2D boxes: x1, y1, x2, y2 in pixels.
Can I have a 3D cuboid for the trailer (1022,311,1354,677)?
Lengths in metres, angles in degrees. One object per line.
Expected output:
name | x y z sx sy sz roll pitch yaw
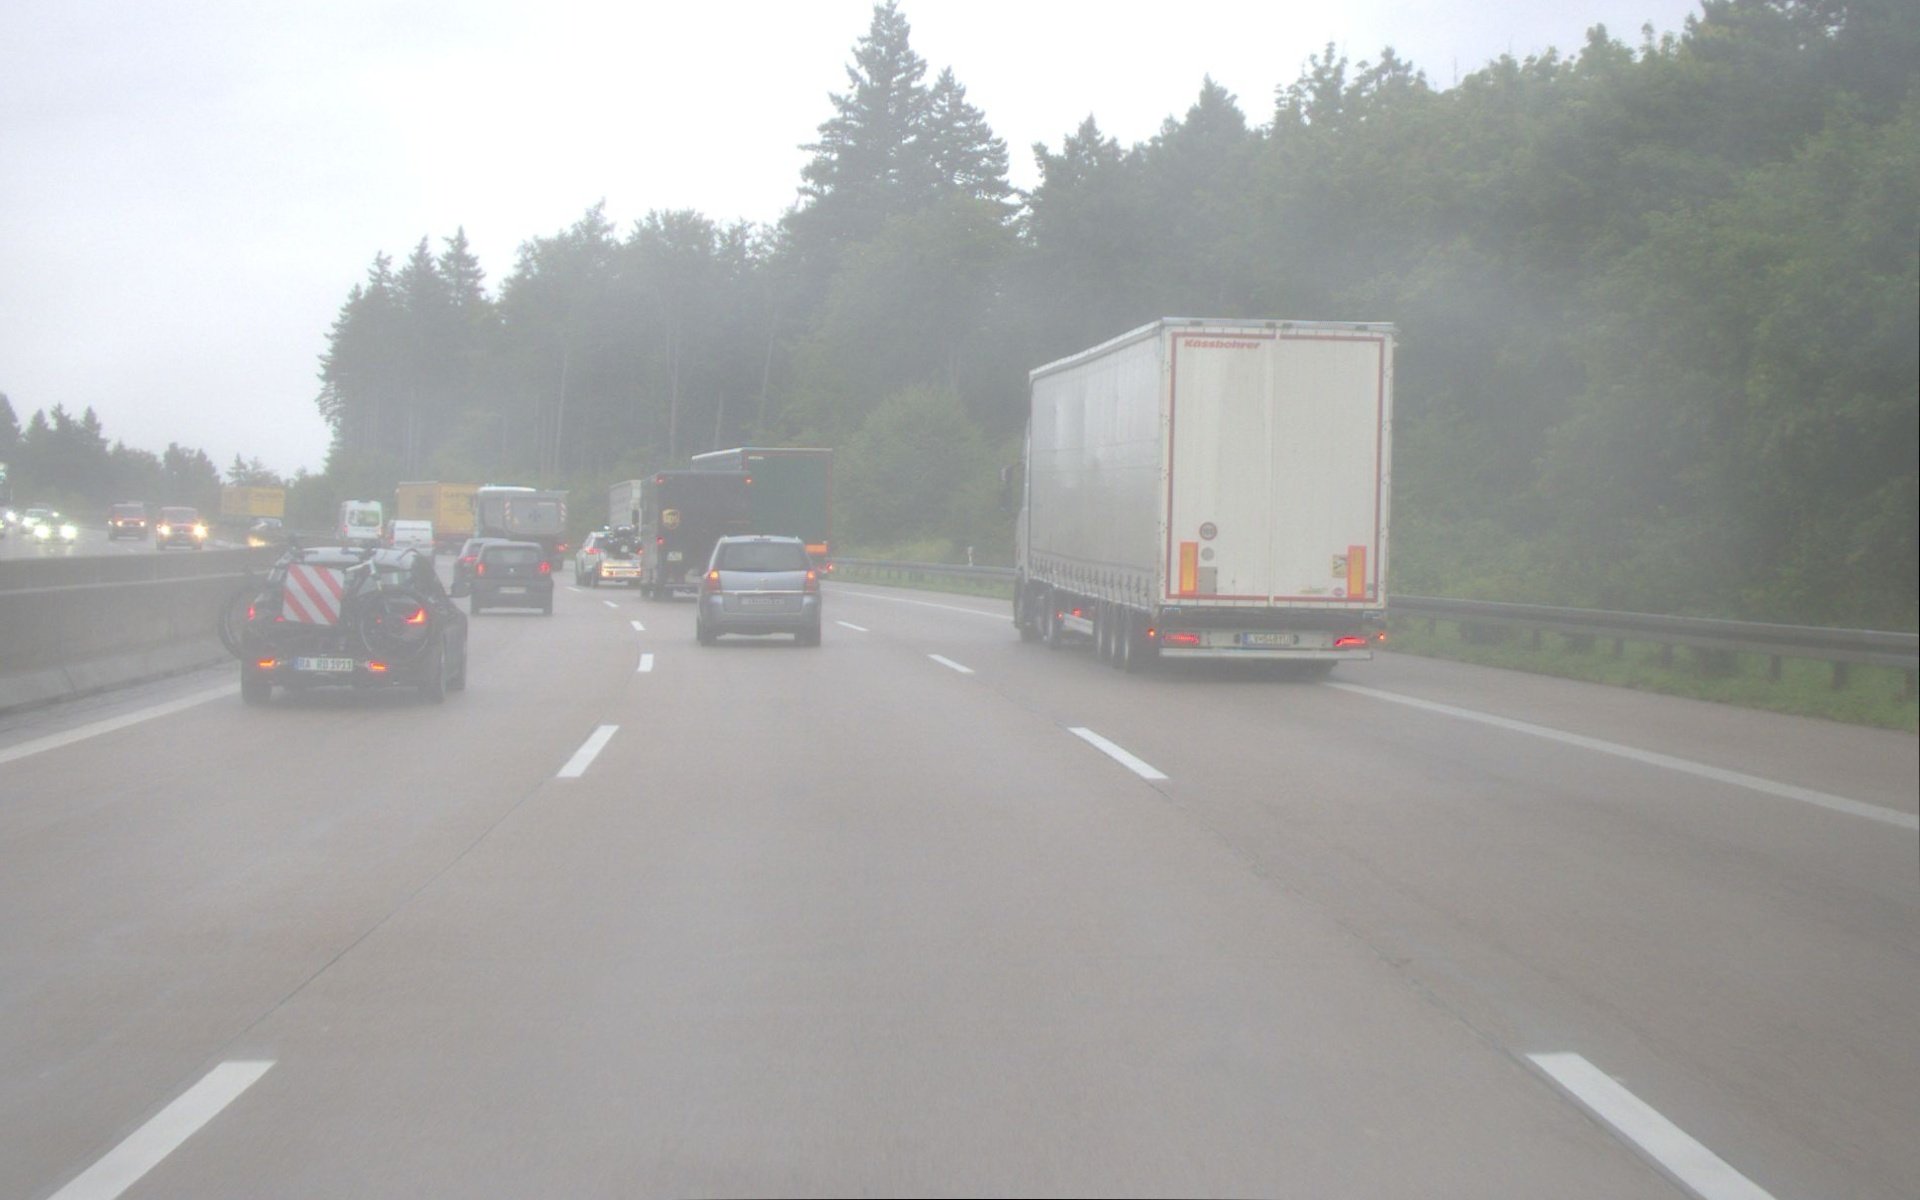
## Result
trailer | 2.643 -1.305 44.248 2.419 4.054 12.057 0 1 -5

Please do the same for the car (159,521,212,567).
car | -35.700 -2.582 158.621 1.993 2.075 5.333 0 1 -8

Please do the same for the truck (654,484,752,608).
truck | -6.334 -1.385 84.257 2.269 2.877 7.905 0 2 -5

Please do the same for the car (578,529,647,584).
car | -9.985 -1.278 99.034 1.881 1.468 4.001 2 1 -5

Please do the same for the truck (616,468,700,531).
truck | -11.823 -3.910 134.314 2.974 2.301 6.669 2 1 -7

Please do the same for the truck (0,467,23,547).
truck | -53.195 -5.107 188.857 2.744 4.270 8.318 0 1 -11

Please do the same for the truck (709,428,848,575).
truck | -5.459 -2.867 101.478 3.368 4.117 10.440 0 1 -7

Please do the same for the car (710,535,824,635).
car | -2.803 -0.254 50.503 1.553 1.347 3.684 2 1 -2

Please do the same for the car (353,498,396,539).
car | -30.792 -4.273 180.852 1.993 2.052 4.001 0 0 -13

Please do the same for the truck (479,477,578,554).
truck | -17.114 -3.380 135.952 3.081 2.895 7.906 0 2 -13

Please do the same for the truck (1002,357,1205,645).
truck | 2.061 -1.449 51.003 2.419 4.054 4.979 0 1 -4

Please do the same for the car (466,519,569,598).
car | -8.736 -0.846 68.145 1.683 1.457 3.684 2 1 -3

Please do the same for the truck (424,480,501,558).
truck | -27.760 -4.488 191.580 3.739 4.195 6.820 0 0 -12

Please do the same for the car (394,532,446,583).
car | -21.424 -1.677 136.315 1.725 2.007 3.658 0 0 -13

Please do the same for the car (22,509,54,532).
car | -55.456 -4.785 206.866 1.621 1.388 4.001 0 1 -12

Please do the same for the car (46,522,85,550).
car | -44.833 -3.226 172.366 1.621 1.388 4.001 0 1 -11
